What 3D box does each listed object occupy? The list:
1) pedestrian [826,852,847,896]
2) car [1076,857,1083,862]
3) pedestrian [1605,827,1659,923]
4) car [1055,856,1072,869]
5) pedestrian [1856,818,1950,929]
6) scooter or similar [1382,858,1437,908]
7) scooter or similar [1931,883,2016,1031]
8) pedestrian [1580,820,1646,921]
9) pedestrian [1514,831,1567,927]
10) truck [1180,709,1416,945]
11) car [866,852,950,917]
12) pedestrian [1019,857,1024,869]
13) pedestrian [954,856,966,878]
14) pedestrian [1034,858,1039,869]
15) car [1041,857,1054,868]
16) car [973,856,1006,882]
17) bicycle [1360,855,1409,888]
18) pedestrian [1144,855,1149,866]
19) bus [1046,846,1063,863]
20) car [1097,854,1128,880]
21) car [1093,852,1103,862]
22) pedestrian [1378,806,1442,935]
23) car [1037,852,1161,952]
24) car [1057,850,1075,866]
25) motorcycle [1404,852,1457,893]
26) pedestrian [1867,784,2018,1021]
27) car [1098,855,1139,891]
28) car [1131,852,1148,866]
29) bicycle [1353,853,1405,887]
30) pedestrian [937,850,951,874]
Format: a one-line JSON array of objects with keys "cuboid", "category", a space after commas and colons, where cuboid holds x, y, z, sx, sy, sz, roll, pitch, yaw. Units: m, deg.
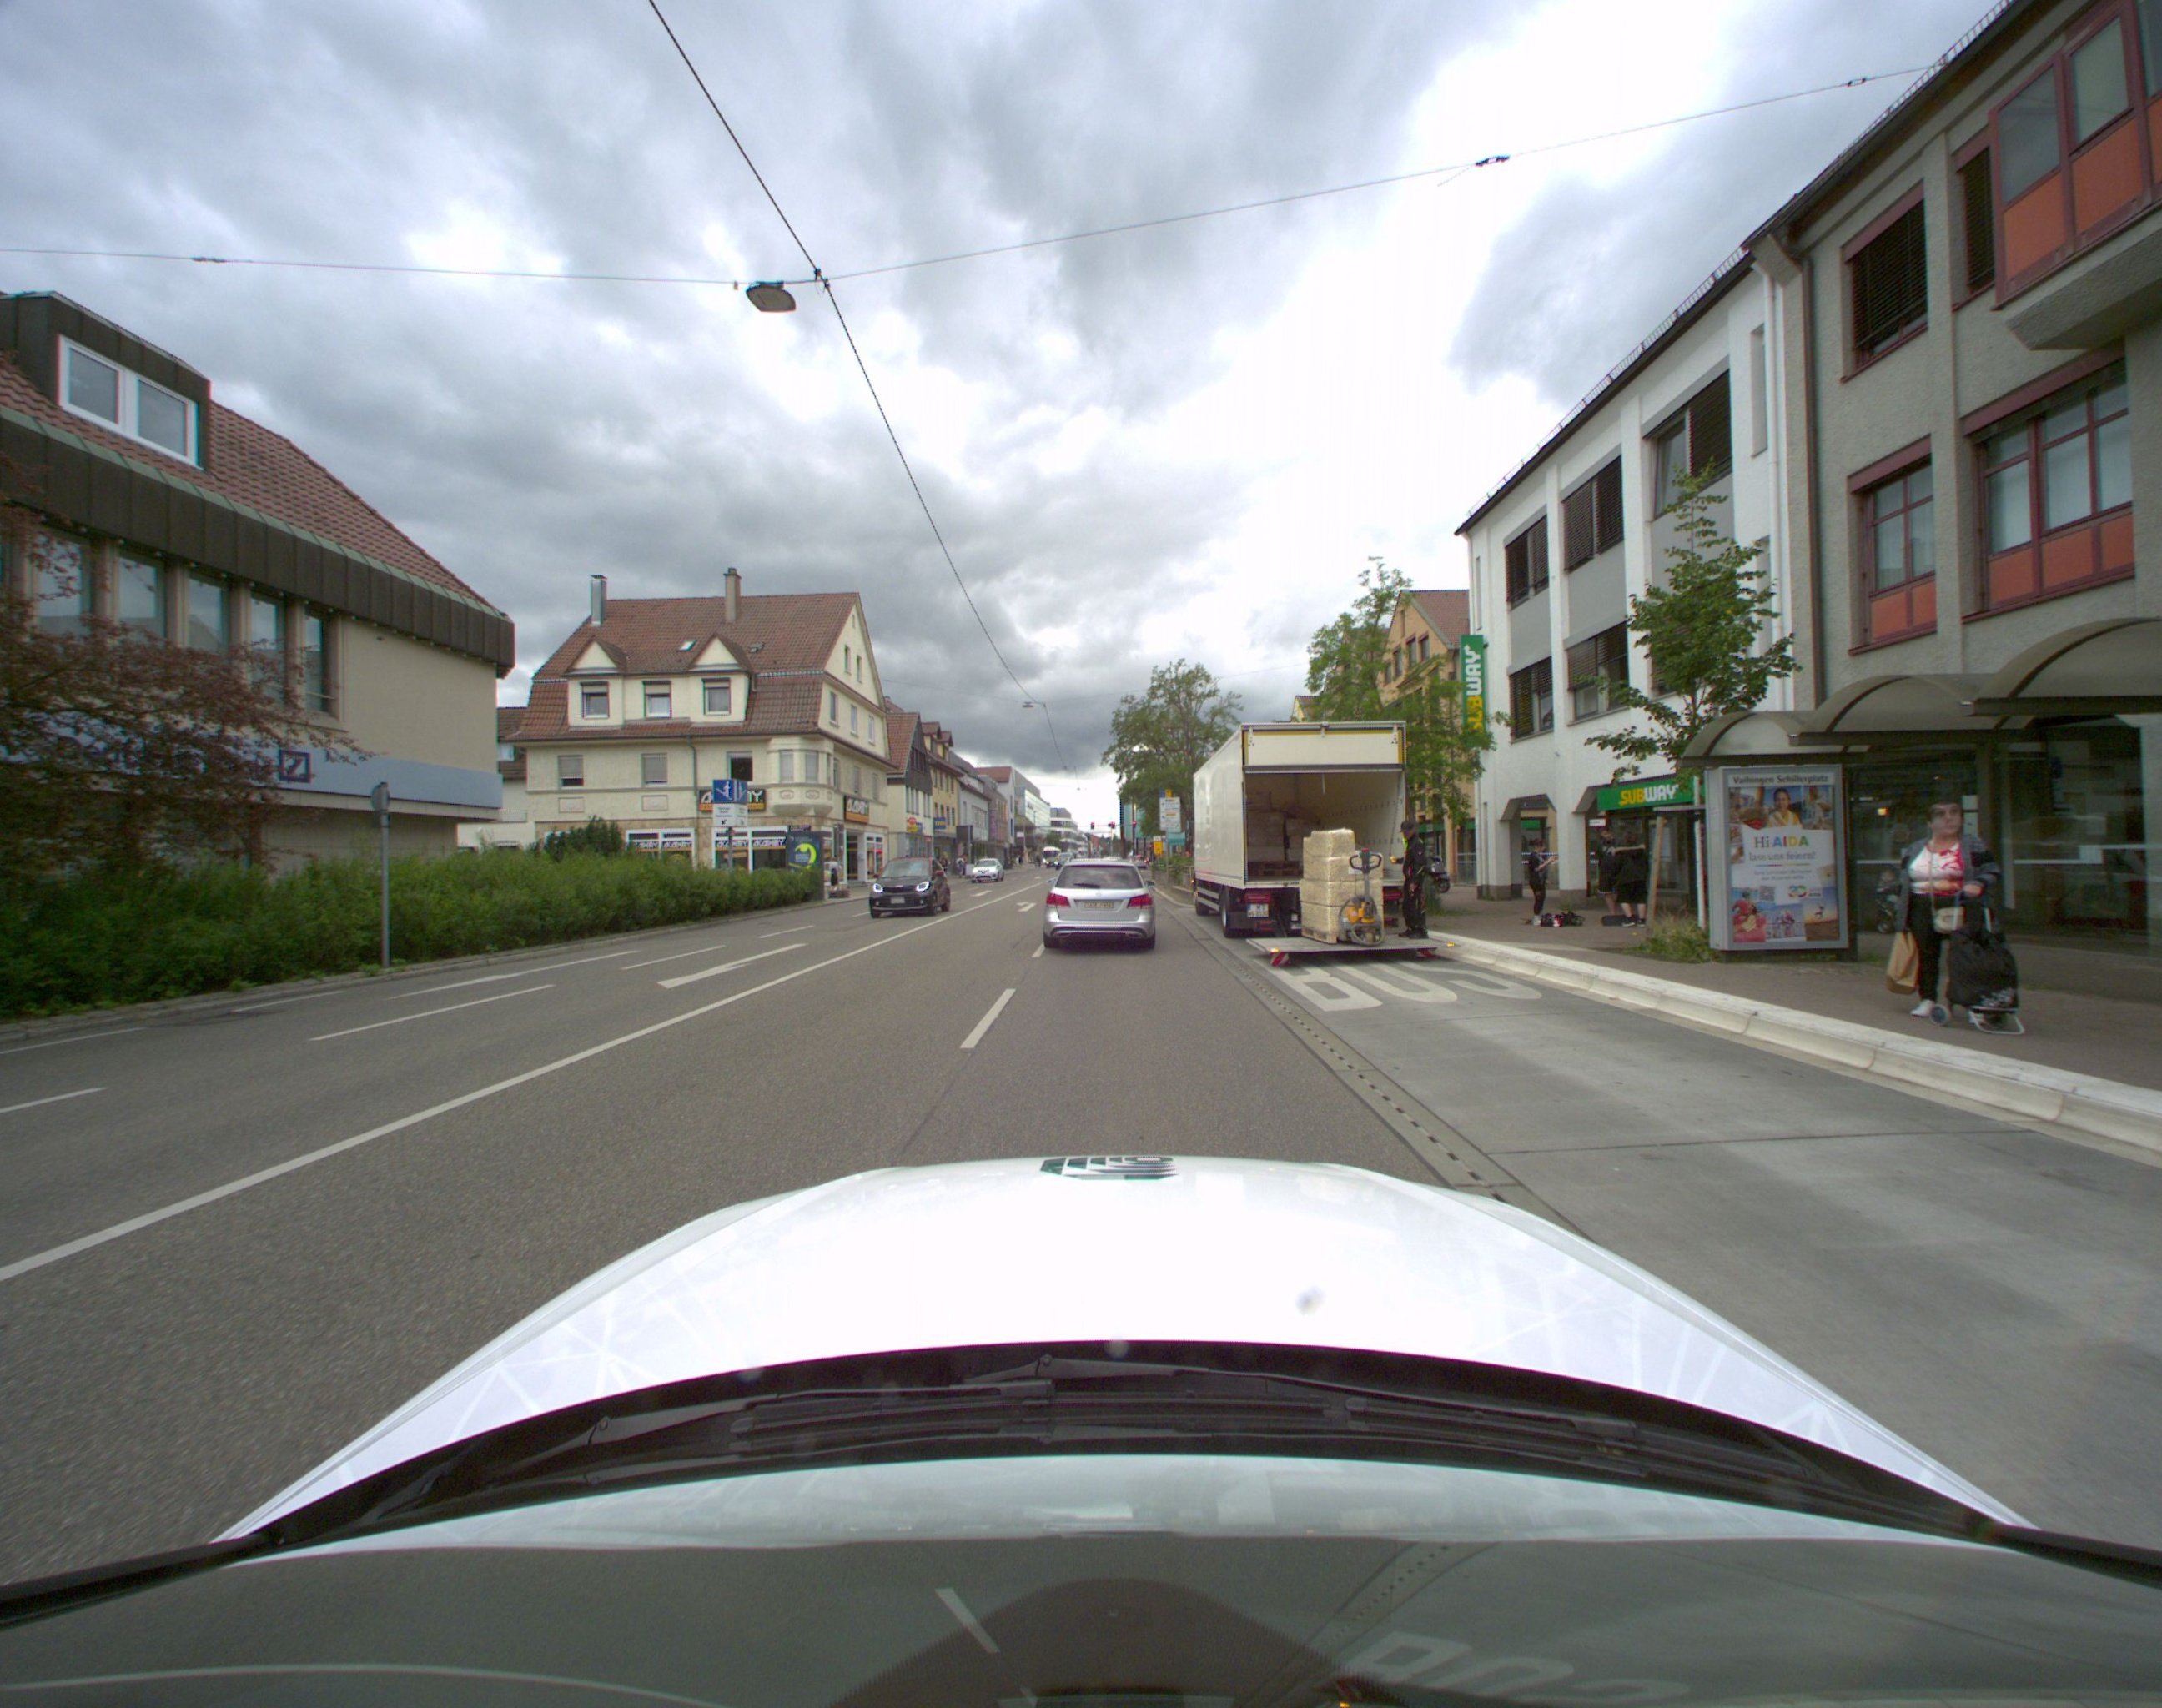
[{"cuboid": [-10.435, 0.838, 34.766, 0.631, 1.824, 0.681, -2, -1, 2], "category": "pedestrian"}, {"cuboid": [-0.447, 1.318, 201.855, 1.568, 1.244, 3.609, -1, 0, 3], "category": "car"}, {"cuboid": [9.513, 0.355, 14.064, 0.618, 1.611, 0.581, 0, -2, -43], "category": "pedestrian"}, {"cuboid": [-2.029, 0.994, 95.311, 1.610, 1.428, 3.925, -2, 0, 3], "category": "car"}, {"cuboid": [11.701, 0.266, 11.605, 0.724, 1.526, 0.614, -1, 0, -5], "category": "pedestrian"}, {"cuboid": [8.178, 0.716, 20.313, 1.175, 1.196, 0.459, -1, -1, -8], "category": "scooter or similar"}, {"cuboid": [6.174, 0.689, 5.634, 0.387, 0.959, 0.351, -1, -1, -39], "category": "scooter or similar"}, {"cuboid": [9.944, 0.304, 15.233, 0.615, 1.819, 0.761, -1, -2, -22], "category": "pedestrian"}, {"cuboid": [8.611, 0.457, 15.278, 0.611, 1.740, 0.587, 2, 0, -2], "category": "pedestrian"}, {"cuboid": [3.902, -0.405, 17.326, 2.678, 3.561, 9.770, -1, 0, 2], "category": "truck"}, {"cuboid": [-4.578, 0.781, 21.923, 1.565, 1.540, 2.960, -3, 0, 0], "category": "car"}, {"cuboid": [-8.396, 1.304, 114.761, 0.584, 1.634, 0.615, 2, 0, 0], "category": "pedestrian"}, {"cuboid": [-9.240, 0.981, 62.103, 0.815, 1.634, 0.979, 1, 0, -3], "category": "pedestrian"}, {"cuboid": [-6.550, 1.358, 119.892, 0.611, 1.634, 0.588, 2, 0, 0], "category": "pedestrian"}, {"cuboid": [-4.714, 1.188, 115.322, 1.611, 1.523, 3.509, -2, 0, 2], "category": "car"}, {"cuboid": [-6.008, 0.983, 53.648, 1.634, 1.568, 3.926, -2, -1, 0], "category": "car"}, {"cuboid": [12.014, 0.674, 32.295, 1.670, 1.259, 0.669, -1, 0, -2], "category": "bicycle"}, {"cuboid": [9.542, 0.904, 118.059, 0.612, 1.634, 0.586, 2, 0, -7], "category": "pedestrian"}, {"cuboid": [-5.186, 0.177, 158.723, 2.764, 3.165, 5.936, -1, 0, 2], "category": "bus"}, {"cuboid": [2.102, 0.836, 53.986, 1.986, 1.684, 4.002, -1, 0, 2], "category": "car"}, {"cuboid": [3.374, 0.551, 164.253, 1.986, 2.013, 4.002, -1, 0, 2], "category": "car"}, {"cuboid": [4.676, 0.232, 11.601, 0.611, 1.780, 0.587, -1, -2, -2], "category": "pedestrian"}, {"cuboid": [0.283, 0.739, 14.349, 1.868, 1.506, 3.999, 0, 0, 0], "category": "car"}, {"cuboid": [-1.940, 0.476, 106.152, 1.954, 1.961, 5.142, -2, 0, 2], "category": "car"}, {"cuboid": [11.431, 0.596, 26.724, 0.735, 1.270, 2.106, -2, 0, -2], "category": "motorcycle"}, {"cuboid": [6.315, 0.339, 5.985, 0.537, 1.634, 0.583, 2, 0, -23], "category": "pedestrian"}, {"cuboid": [1.719, 0.845, 37.682, 1.747, 1.521, 4.002, -1, -1, 2], "category": "car"}, {"cuboid": [7.127, 0.629, 99.737, 1.986, 1.684, 4.002, -1, 0, 2], "category": "car"}, {"cuboid": [12.136, 0.639, 33.188, 1.811, 1.326, 0.843, -1, 0, -2], "category": "bicycle"}, {"cuboid": [-10.145, 0.605, 60.375, 0.865, 1.746, 0.805, 2, 0, -3], "category": "pedestrian"}]
